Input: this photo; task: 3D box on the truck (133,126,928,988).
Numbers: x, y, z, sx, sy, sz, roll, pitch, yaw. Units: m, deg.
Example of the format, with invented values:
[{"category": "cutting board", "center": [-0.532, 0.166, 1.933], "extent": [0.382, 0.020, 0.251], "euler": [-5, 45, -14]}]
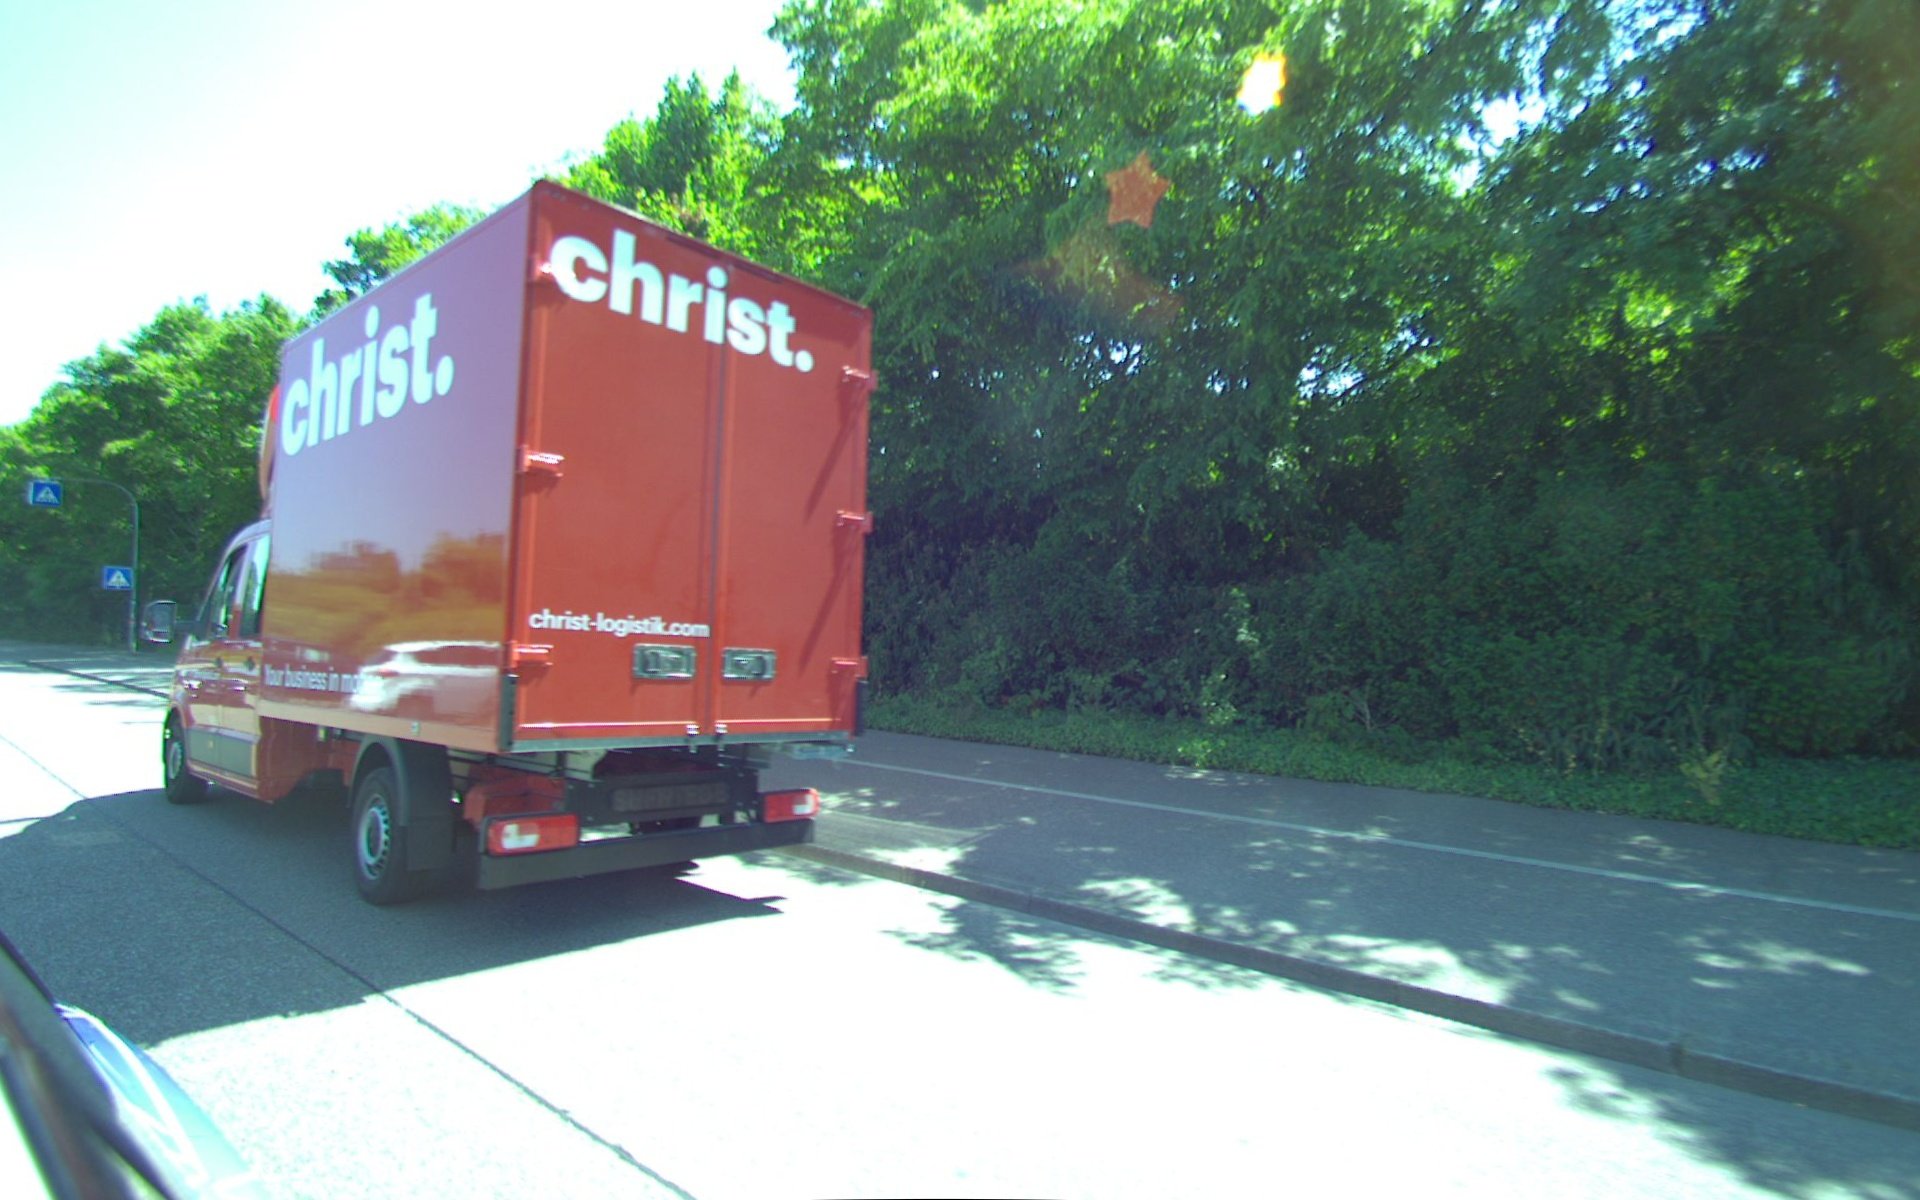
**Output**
[{"category": "truck", "center": [-3.660, -0.072, 7.307], "extent": [7.158, 3.466, 2.297], "euler": [-1, -5, 42]}]

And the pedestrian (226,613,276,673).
[{"category": "pedestrian", "center": [-19.581, 1.165, 27.971], "extent": [0.885, 1.625, 0.923], "euler": [-1, -1, 40]}]
